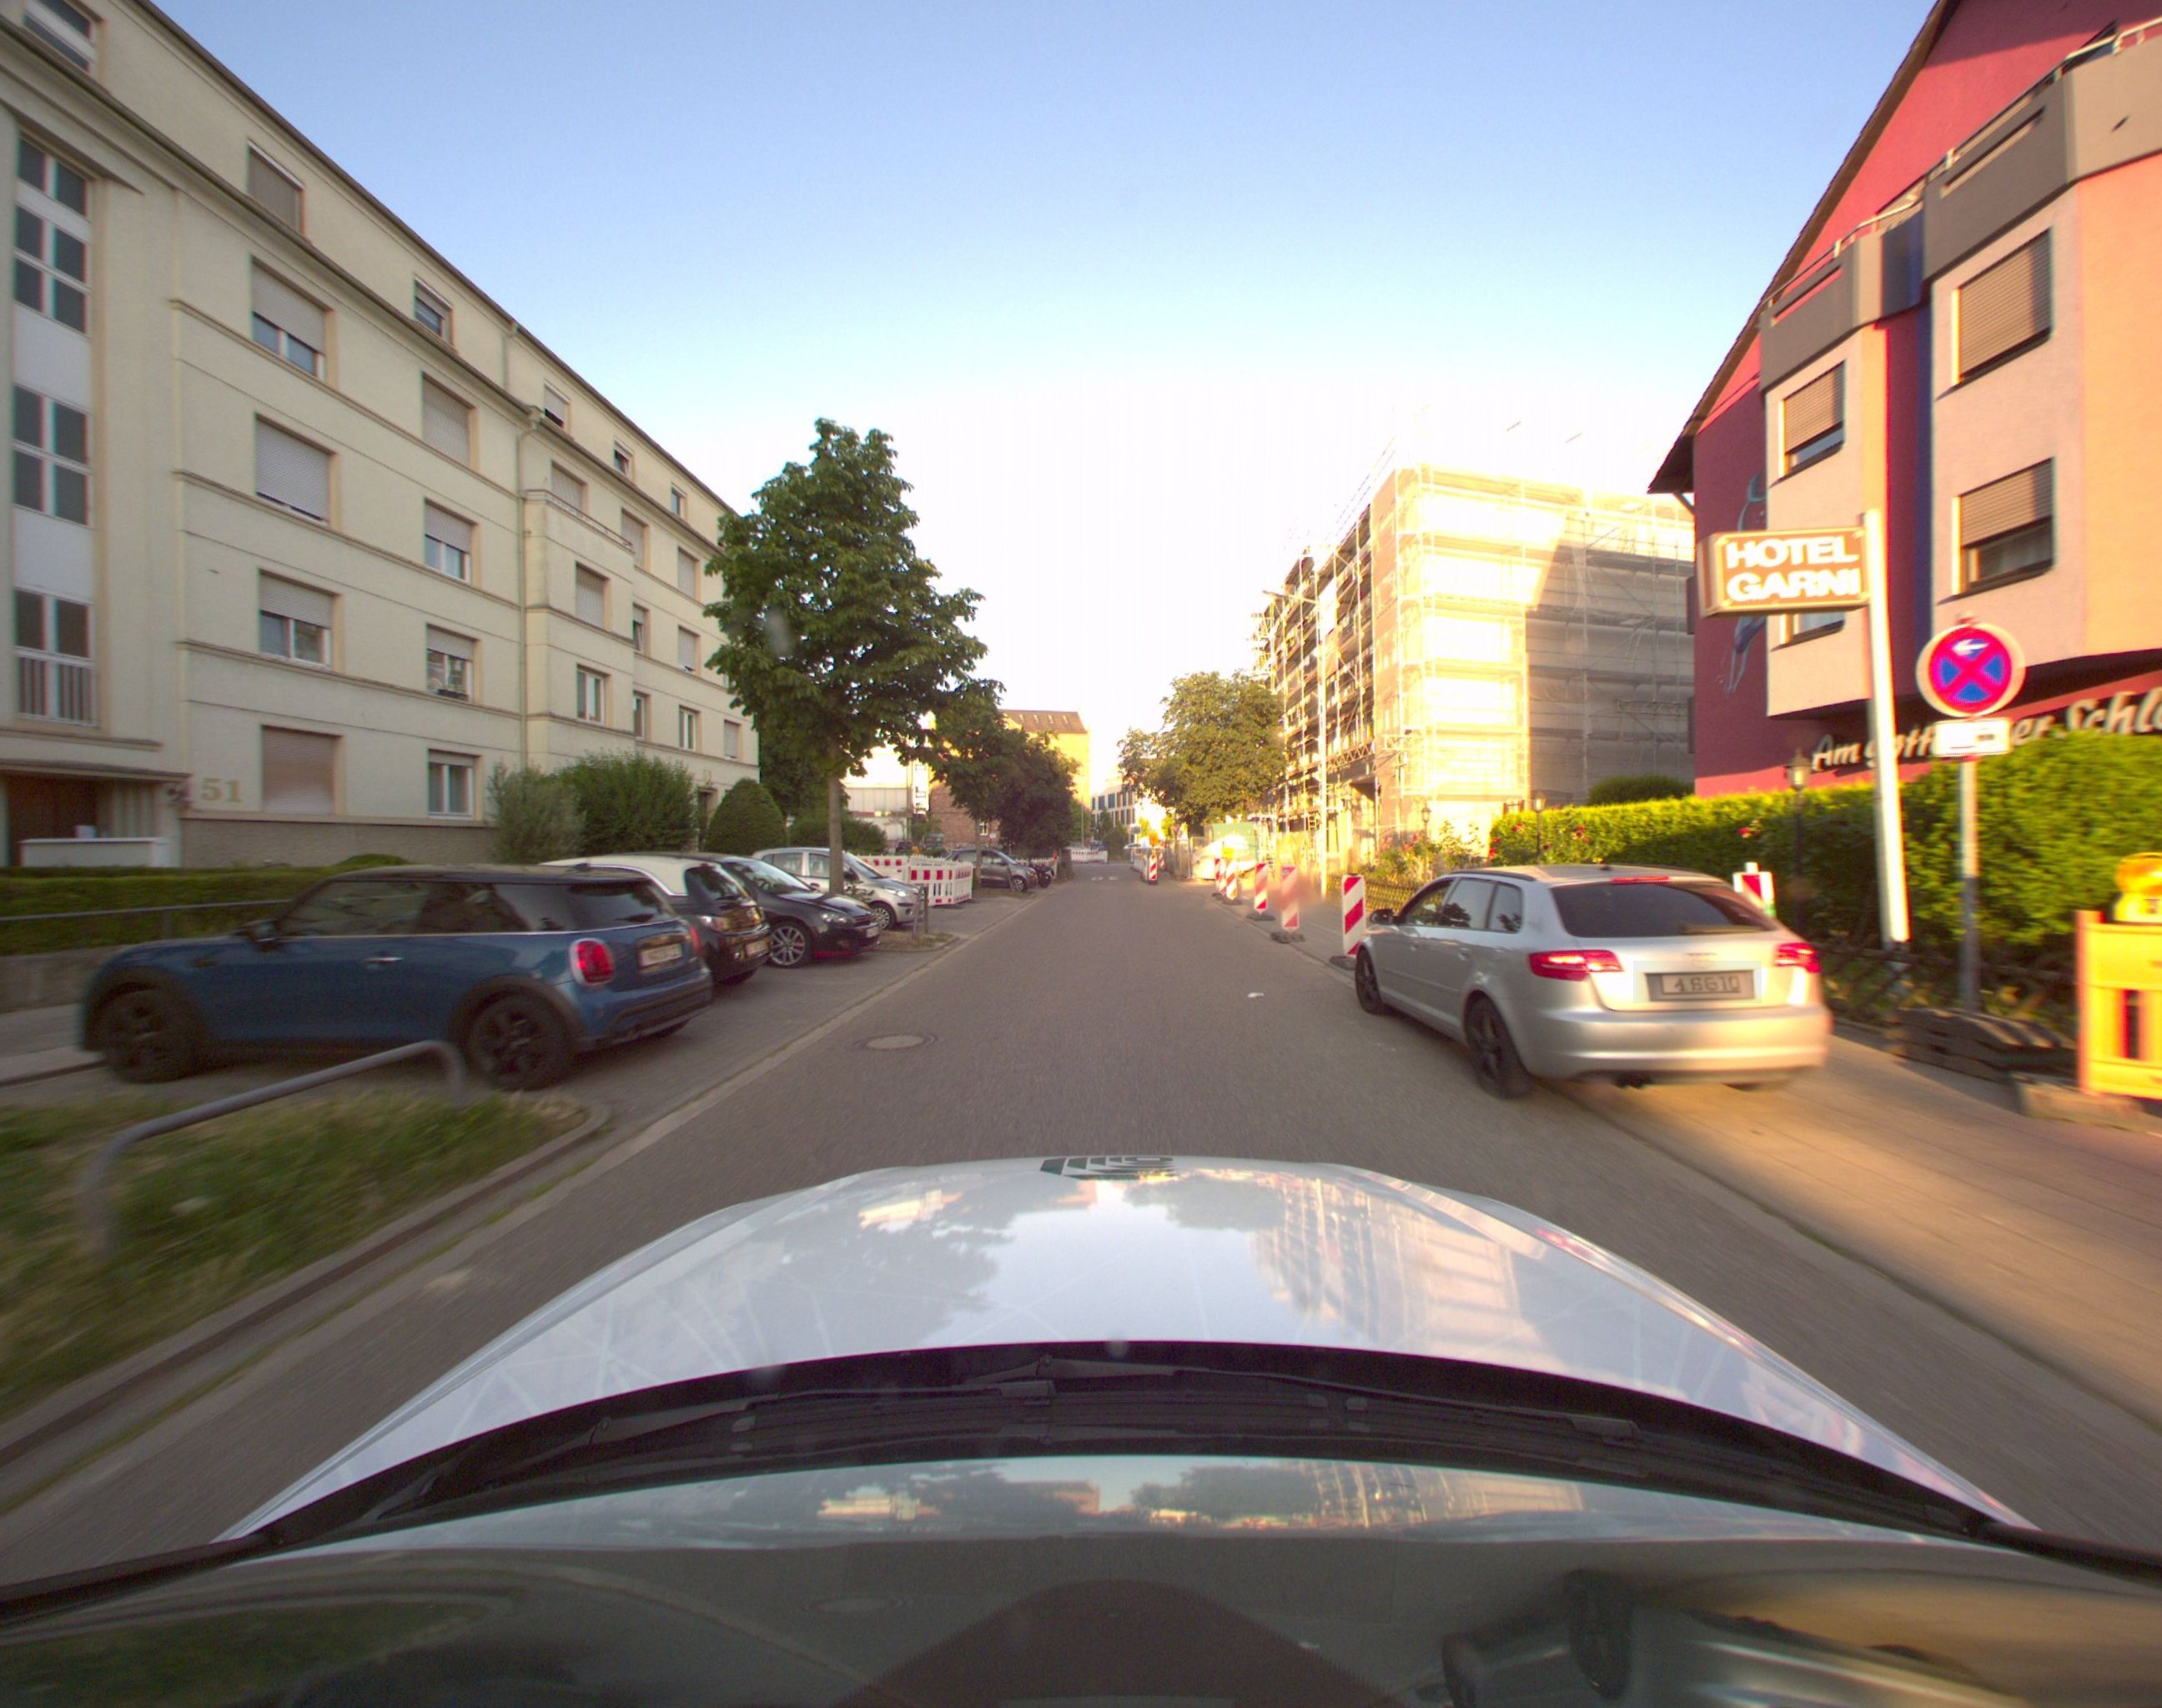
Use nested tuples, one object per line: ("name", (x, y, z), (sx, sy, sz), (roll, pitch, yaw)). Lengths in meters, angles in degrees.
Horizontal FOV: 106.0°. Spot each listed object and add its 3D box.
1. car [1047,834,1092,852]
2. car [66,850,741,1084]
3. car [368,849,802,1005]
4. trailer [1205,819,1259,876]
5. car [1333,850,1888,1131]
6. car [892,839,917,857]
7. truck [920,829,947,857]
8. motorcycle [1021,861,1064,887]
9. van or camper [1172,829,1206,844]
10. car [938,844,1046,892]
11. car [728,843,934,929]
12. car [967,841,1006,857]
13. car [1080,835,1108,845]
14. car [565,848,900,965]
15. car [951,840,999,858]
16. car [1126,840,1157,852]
("car", (-1.168, -1.071, 82.101), (4.279, 1.708, 1.693), (-1, 1, -17))
("car", (-4.753, 0.708, 6.083), (3.660, 1.445, 1.730), (0, 0, 4))
("car", (-5.197, 0.709, 8.854), (3.660, 1.484, 1.730), (0, 0, 4))
("trailer", (7.119, -0.350, 38.824), (1.985, 2.539, 4.190), (-1, 1, 3))
("car", (3.394, 0.709, 6.304), (1.769, 1.396, 4.110), (-1, 1, 2))
("car", (-17.303, -0.566, 79.700), (1.998, 1.692, 3.977), (-1, 1, -17))
("truck", (-14.597, -1.088, 80.407), (2.337, 2.616, 4.949), (-1, 1, -14))
("motorcycle", (-1.544, 0.795, 33.165), (0.532, 1.020, 2.225), (2, 1, 32))
("van or camper", (16.557, -2.681, 124.911), (4.977, 2.240, 1.676), (-1, 0, -19))
("car", (-3.193, 0.492, 29.593), (3.609, 1.556, 1.694), (2, 1, 2))
("car", (-4.782, 0.598, 15.949), (3.464, 1.566, 1.727), (0, 0, -1))
("car", (-9.318, -0.481, 80.315), (3.636, 1.503, 1.630), (-1, 1, -14))
("car", (2.052, -2.213, 128.199), (3.996, 1.312, 1.868), (-1, 3, -16))
("car", (-4.772, 0.675, 11.513), (3.959, 1.489, 1.730), (0, 0, 4))
("car", (-10.711, -0.509, 82.176), (4.589, 1.638, 1.568), (-1, 1, -14))
("car", (8.131, -1.063, 109.105), (3.751, 1.603, 1.676), (-1, 1, -19))
